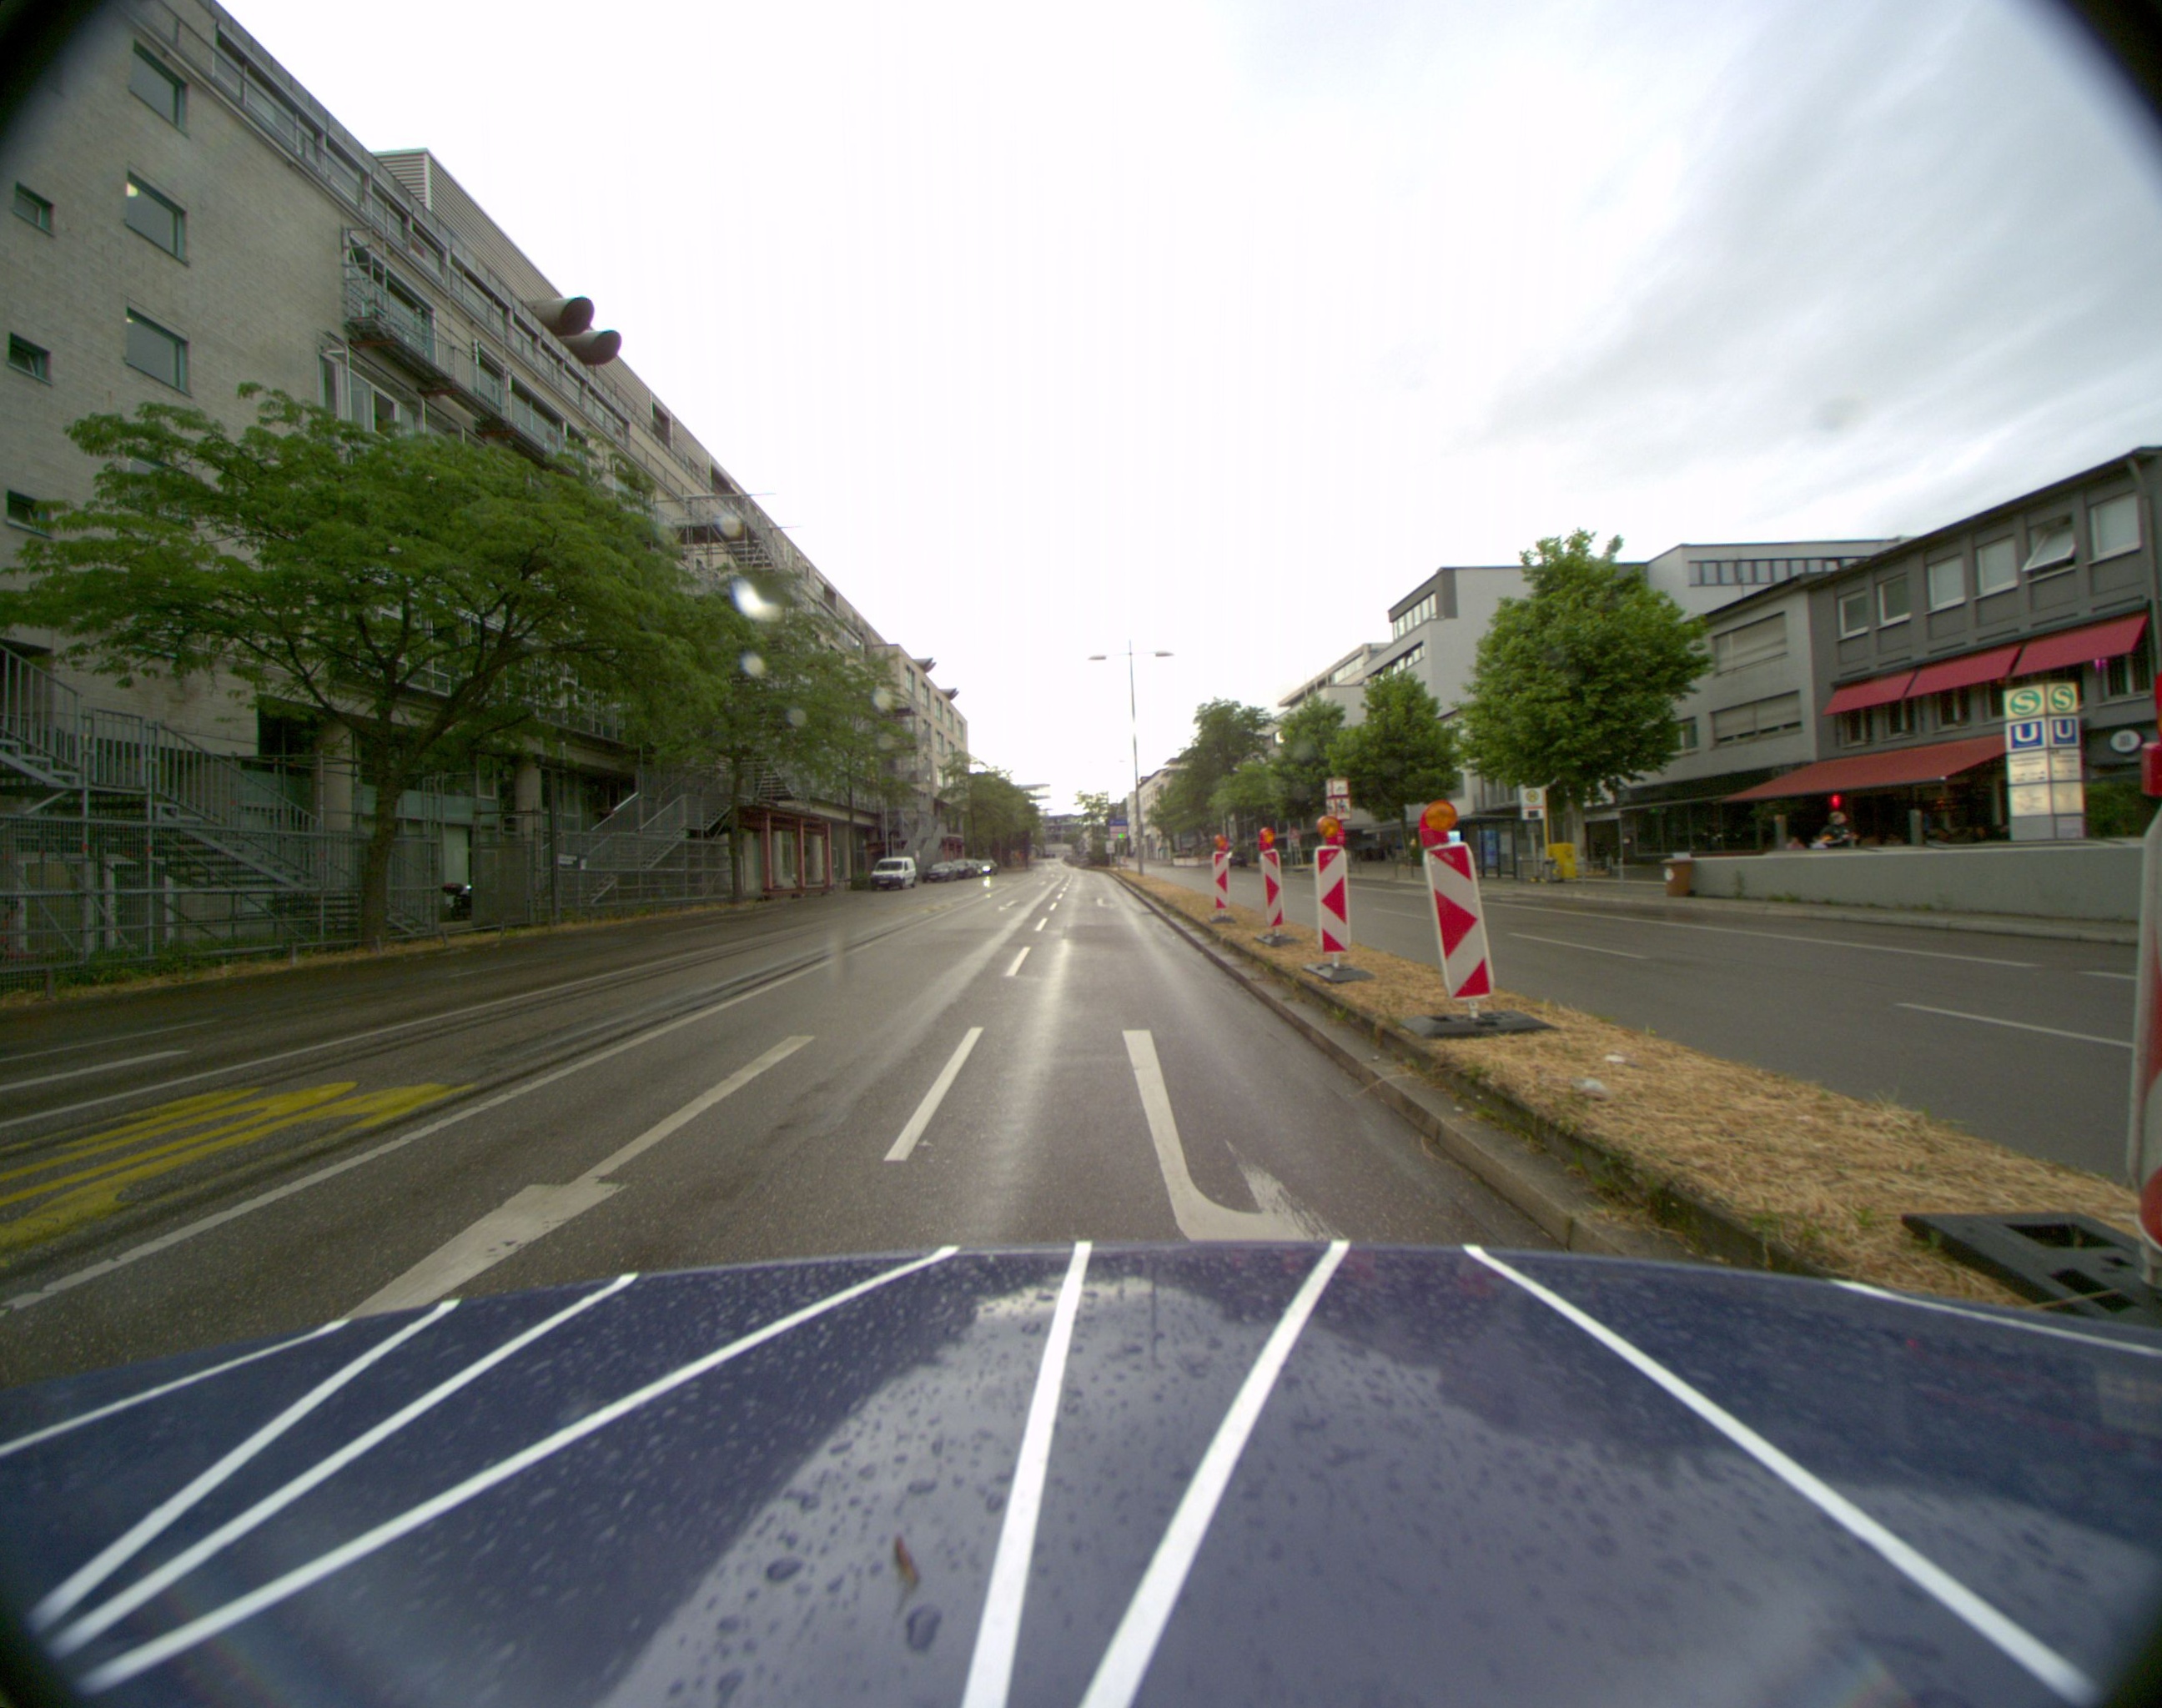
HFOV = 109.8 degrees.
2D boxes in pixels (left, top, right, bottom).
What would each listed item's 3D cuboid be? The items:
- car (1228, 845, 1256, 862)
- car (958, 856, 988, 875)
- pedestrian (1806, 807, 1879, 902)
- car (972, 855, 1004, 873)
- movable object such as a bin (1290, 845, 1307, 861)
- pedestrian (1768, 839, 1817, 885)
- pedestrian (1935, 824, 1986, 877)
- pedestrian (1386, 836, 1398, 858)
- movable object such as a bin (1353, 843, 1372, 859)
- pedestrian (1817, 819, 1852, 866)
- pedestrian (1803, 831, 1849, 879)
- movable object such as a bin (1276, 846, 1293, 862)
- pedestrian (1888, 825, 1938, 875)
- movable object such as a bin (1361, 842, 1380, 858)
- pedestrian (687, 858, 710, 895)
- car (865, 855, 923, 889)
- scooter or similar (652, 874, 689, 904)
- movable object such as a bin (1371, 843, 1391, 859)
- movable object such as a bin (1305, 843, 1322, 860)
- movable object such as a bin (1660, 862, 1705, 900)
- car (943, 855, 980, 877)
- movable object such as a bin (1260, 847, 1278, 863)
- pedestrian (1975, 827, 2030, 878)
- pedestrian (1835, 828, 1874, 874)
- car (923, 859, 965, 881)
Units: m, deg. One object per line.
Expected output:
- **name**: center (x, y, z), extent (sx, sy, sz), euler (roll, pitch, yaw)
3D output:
- **car**: center (15.755, -0.015, 74.486), extent (1.783, 1.626, 4.023), euler (-2, 0, -2)
- **car**: center (-9.447, 0.960, 66.707), extent (1.866, 1.591, 4.593), euler (-2, 0, 1)
- **pedestrian**: center (15.644, 0.006, 15.621), extent (0.691, 1.874, 0.758), euler (-2, 1, -4)
- **car**: center (-8.853, 0.945, 72.626), extent (1.998, 1.591, 5.290), euler (-2, 0, 4)
- **movable object such as a bin**: center (20.307, -0.099, 70.920), extent (1.281, 1.418, 1.088), euler (-2, 1, 1)
- **pedestrian**: center (23.117, 0.269, 24.692), extent (0.691, 1.442, 0.914), euler (-2, 0, -4)
- **pedestrian**: center (24.774, -0.103, 21.411), extent (0.635, 1.442, 0.691), euler (-2, 1, -6)
- **pedestrian**: center (24.135, -0.540, 59.006), extent (0.698, 1.753, 0.653), euler (-1, 1, 3)
- **movable object such as a bin**: center (26.647, -0.289, 71.929), extent (1.088, 1.427, 1.281), euler (-2, 0, -9)
- **pedestrian**: center (25.980, -0.392, 26.210), extent (0.598, 1.561, 0.604), euler (-2, 1, -9)
- **pedestrian**: center (23.181, 0.037, 23.656), extent (0.691, 1.442, 0.707), euler (-2, 1, -4)
- **movable object such as a bin**: center (18.956, 0.022, 70.894), extent (1.281, 1.418, 1.088), euler (-2, 1, 1)
- **pedestrian**: center (24.948, -0.113, 22.787), extent (0.728, 1.442, 0.691), euler (-2, 1, -6)
- **movable object such as a bin**: center (26.835, -0.345, 70.391), extent (1.088, 1.427, 1.281), euler (-2, 0, -9)
- **pedestrian**: center (-18.215, 1.069, 36.210), extent (0.677, 1.732, 0.653), euler (-1, 1, 3)
- **car**: center (-10.450, 0.959, 42.794), extent (1.998, 1.739, 4.526), euler (-2, 0, 1)
- **scooter or similar**: center (-17.180, 1.453, 31.824), extent (0.633, 1.155, 1.547), euler (-2, 0, 1)
- **movable object such as a bin**: center (27.241, -0.267, 69.012), extent (1.088, 1.427, 1.281), euler (-2, 0, -9)
- **movable object such as a bin**: center (21.702, -0.214, 70.911), extent (1.281, 1.480, 1.088), euler (-2, 1, 1)
- **movable object such as a bin**: center (14.518, 0.651, 18.344), extent (0.533, 0.892, 0.682), euler (0, 0, -9)
- **car**: center (-9.591, 0.947, 61.332), extent (1.998, 1.636, 4.863), euler (-2, 0, 3)
- **movable object such as a bin**: center (17.515, 0.058, 70.893), extent (1.362, 1.418, 1.088), euler (-2, 1, 1)
- **pedestrian**: center (24.920, -0.051, 20.551), extent (0.635, 1.336, 0.691), euler (-2, 1, -6)
- **pedestrian**: center (24.906, -0.082, 24.476), extent (0.691, 1.442, 0.547), euler (-2, 1, -4)
- **car**: center (-9.780, 1.105, 54.540), extent (1.873, 1.429, 4.922), euler (-2, 0, 3)
